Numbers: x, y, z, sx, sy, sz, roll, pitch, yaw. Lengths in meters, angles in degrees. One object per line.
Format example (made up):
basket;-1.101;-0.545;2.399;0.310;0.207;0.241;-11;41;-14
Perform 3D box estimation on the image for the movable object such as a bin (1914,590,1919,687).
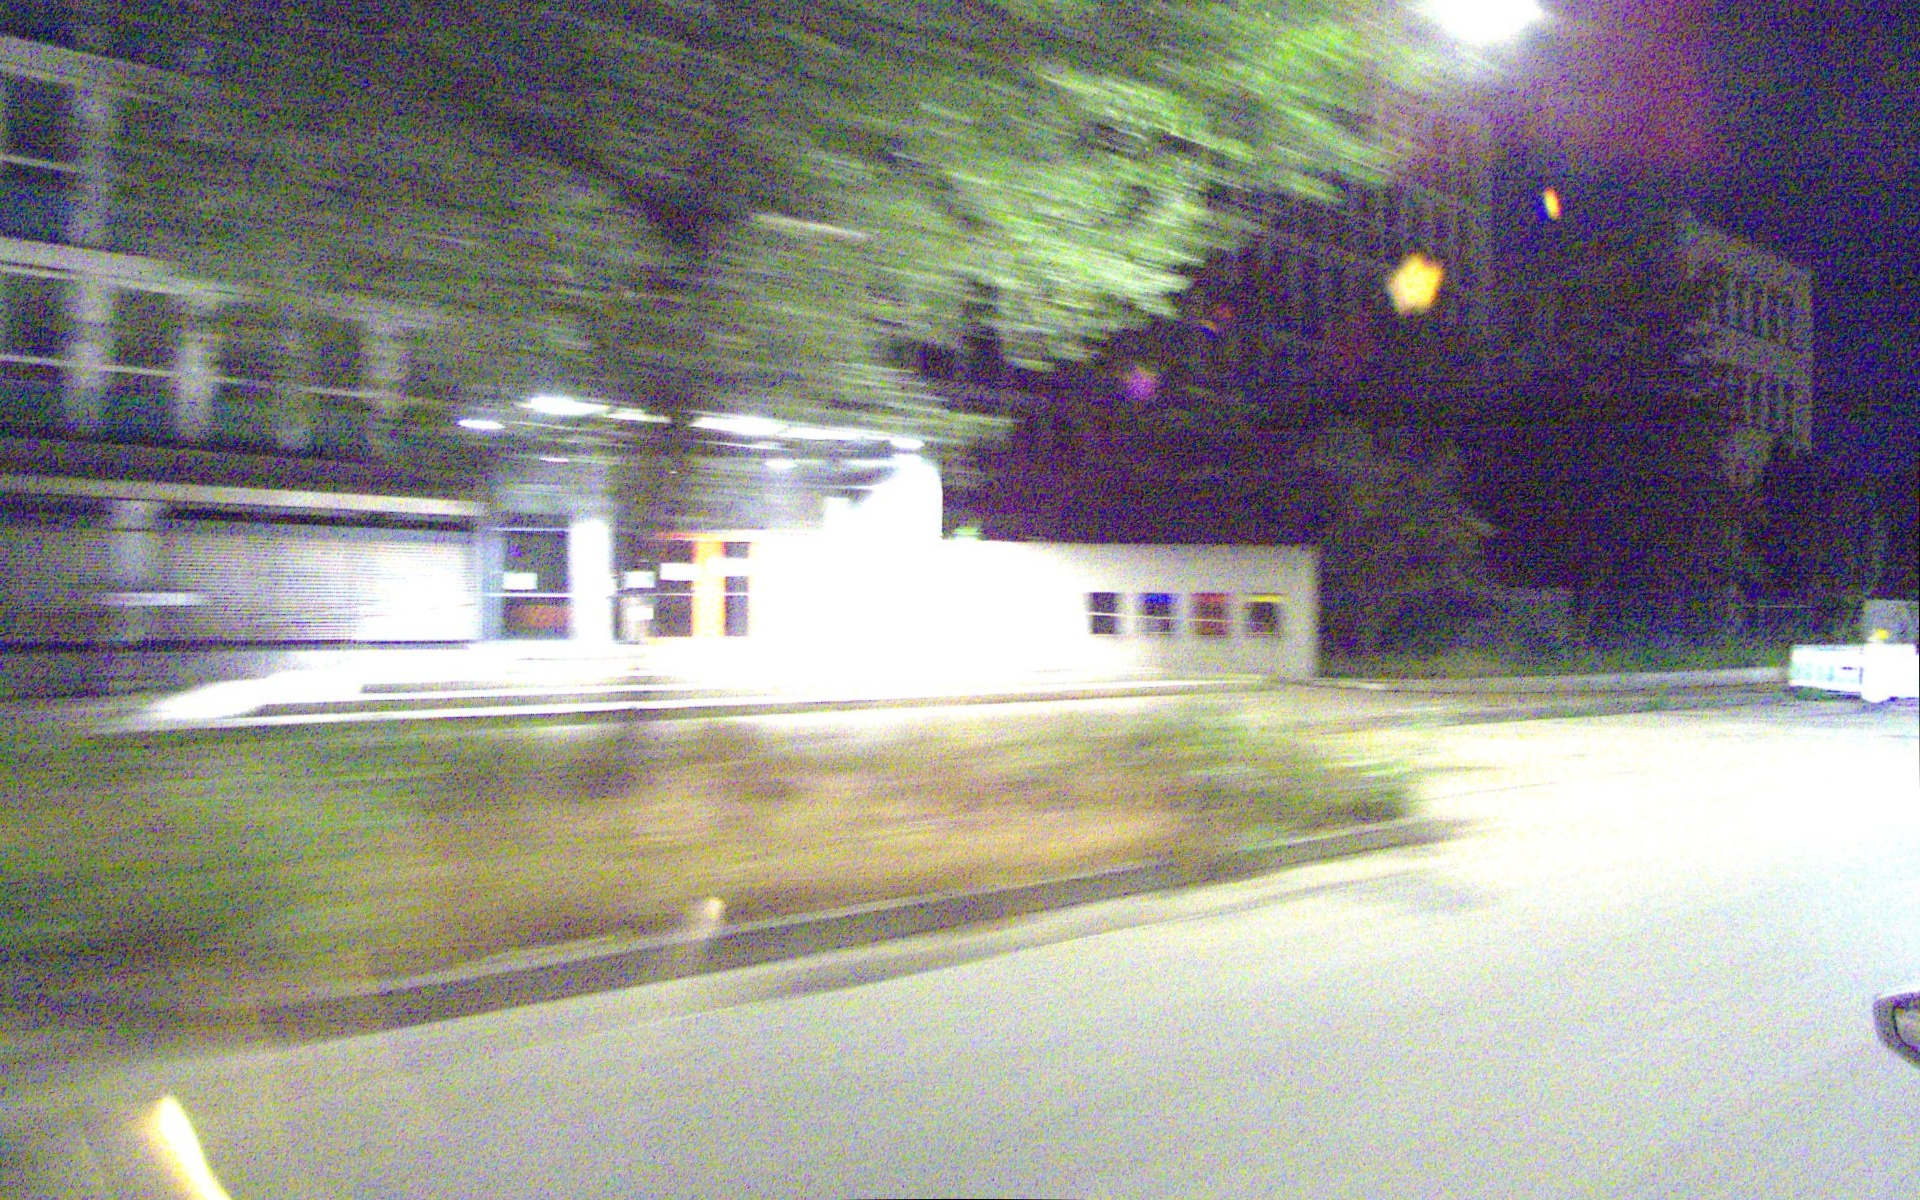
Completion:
movable object such as a bin;24.975;0.955;24.942;1.529;2.499;2.828;-1;-3;38
